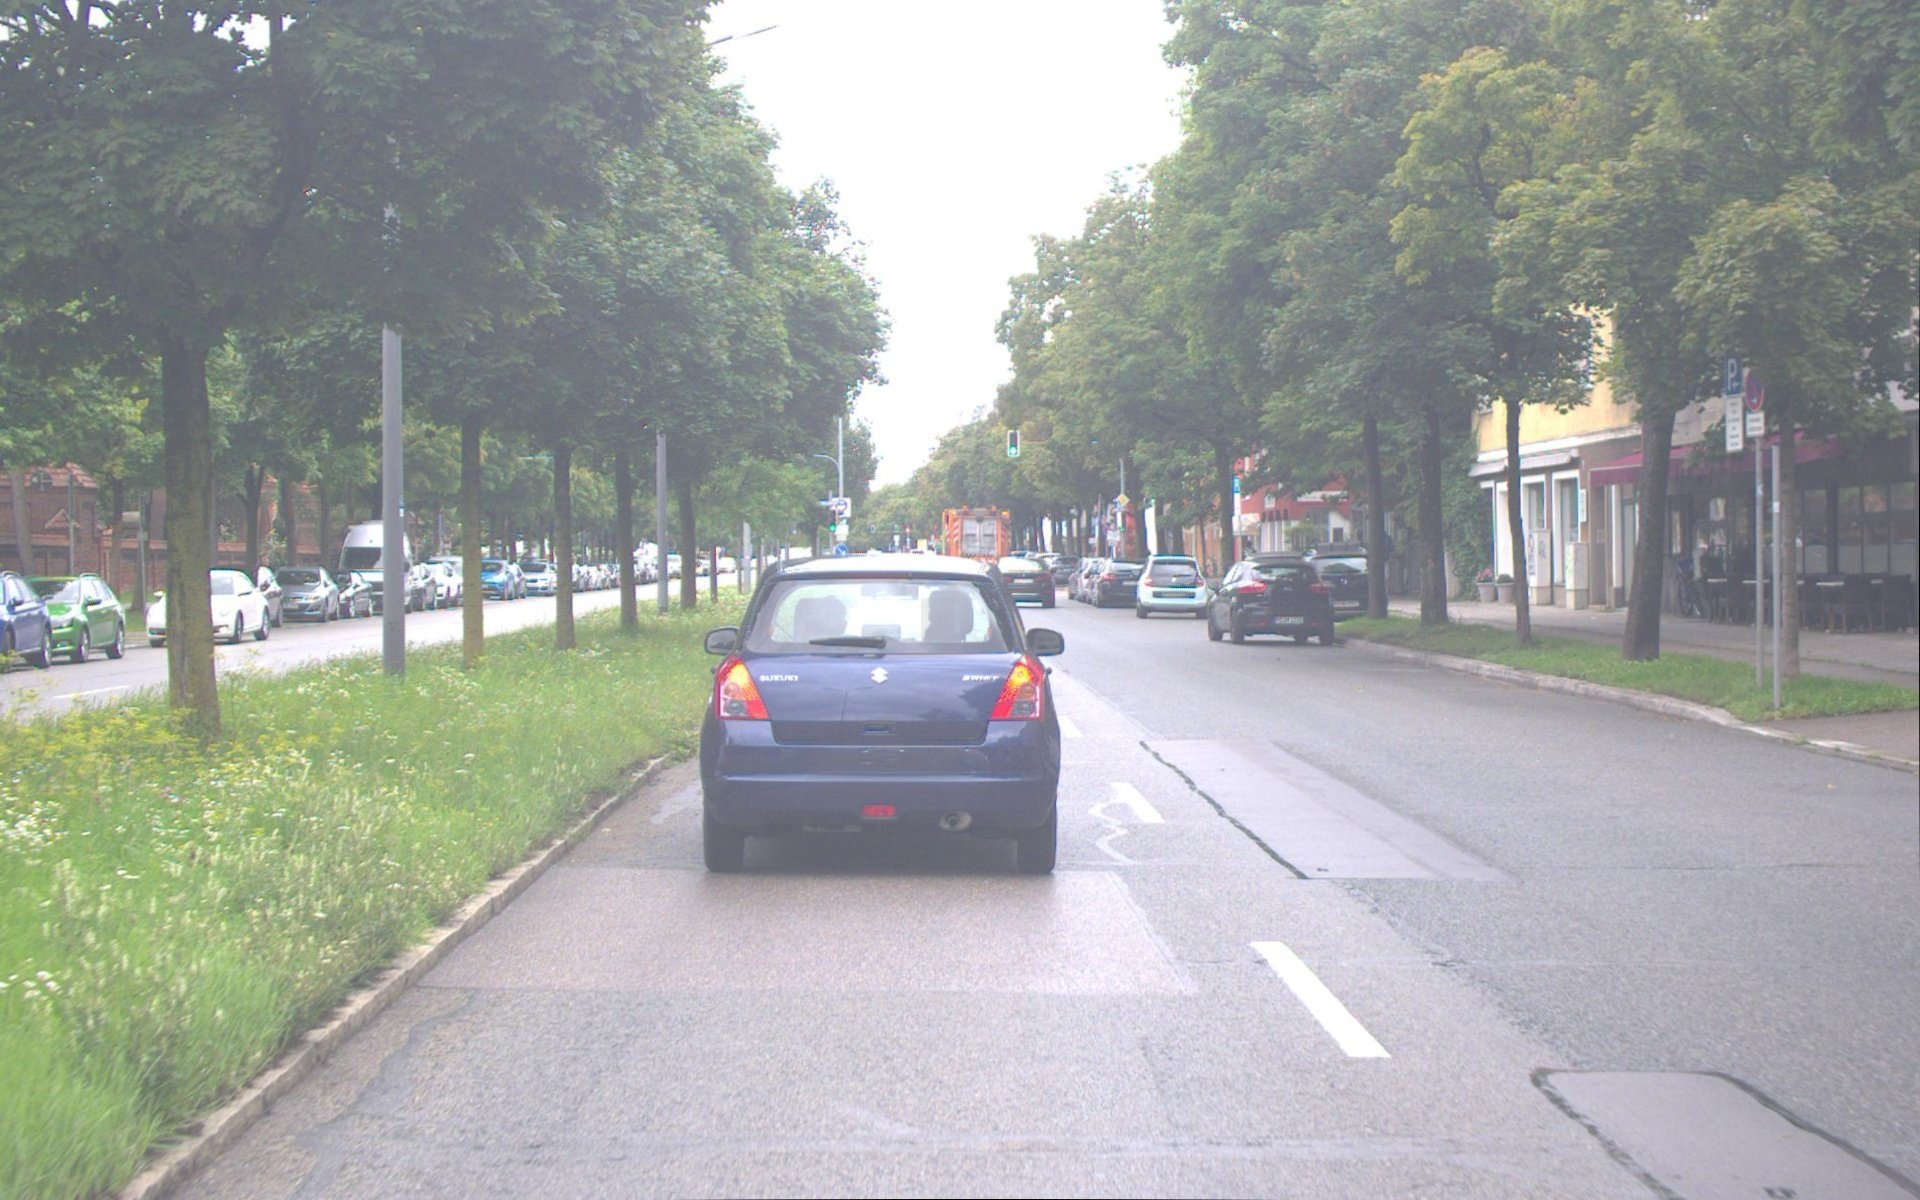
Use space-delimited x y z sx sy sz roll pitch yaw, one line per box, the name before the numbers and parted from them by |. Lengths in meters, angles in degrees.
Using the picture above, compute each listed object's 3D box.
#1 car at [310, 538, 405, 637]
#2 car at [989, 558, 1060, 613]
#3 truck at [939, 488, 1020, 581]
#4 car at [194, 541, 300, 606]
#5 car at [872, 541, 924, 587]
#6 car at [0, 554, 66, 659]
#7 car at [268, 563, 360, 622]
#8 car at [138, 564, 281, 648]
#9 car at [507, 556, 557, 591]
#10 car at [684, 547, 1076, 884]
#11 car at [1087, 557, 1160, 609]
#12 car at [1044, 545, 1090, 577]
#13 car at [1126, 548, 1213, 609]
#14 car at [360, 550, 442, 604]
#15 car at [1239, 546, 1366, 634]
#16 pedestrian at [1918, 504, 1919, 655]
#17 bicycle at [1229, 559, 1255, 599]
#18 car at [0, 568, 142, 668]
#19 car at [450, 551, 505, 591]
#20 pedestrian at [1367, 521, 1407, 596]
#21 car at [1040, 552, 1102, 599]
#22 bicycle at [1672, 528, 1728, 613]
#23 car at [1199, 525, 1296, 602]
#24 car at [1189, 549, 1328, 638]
car | -18.565 -0.417 106.174 2.185 2.943 6.193 0 1 -3
car | 1.821 -0.427 98.862 1.821 1.472 4.691 1 1 -1
truck | 0.721 -2.599 136.936 3.041 3.545 13.675 0 1 0
car | -17.365 -0.669 83.920 1.813 1.531 4.299 0 1 -2
car | -2.090 -1.213 115.241 1.718 1.495 4.301 0 1 -1
car | -15.136 0.119 52.620 1.886 1.532 4.315 -3 1 -3
car | -17.607 -0.226 93.832 1.813 1.531 4.442 0 1 -2
car | -15.281 0.091 70.212 1.761 1.532 4.314 -3 1 2
car | -19.295 -1.198 155.040 1.801 1.529 4.000 -1 1 -1
car | -0.363 0.487 17.448 1.753 1.499 4.000 0 1 0
car | 4.757 -0.505 100.464 1.653 1.447 4.709 -1 1 -3
car | 5.161 -1.905 166.537 1.993 1.525 4.000 -1 1 -1
car | 5.083 -0.540 83.808 1.653 1.447 4.001 -1 1 -3
car | -18.312 -0.782 112.738 2.185 1.730 4.579 0 1 -3
car | 6.622 -0.220 66.855 1.993 1.637 4.333 -1 1 -1
pedestrian | 11.231 -0.232 39.019 0.499 1.727 0.733 -1 1 -1
bicycle | 6.905 -0.521 84.109 0.448 0.977 1.799 0 1 -1
car | -15.235 0.282 58.379 1.638 1.532 4.315 -3 1 -1
car | -19.354 -1.176 137.973 1.706 1.529 4.000 -1 1 -1
pedestrian | 10.751 -1.055 86.588 0.792 1.849 0.777 -2 1 -3
car | 3.571 -0.810 110.923 1.653 1.447 4.001 -1 1 -3
bicycle | 12.947 -0.519 60.202 0.580 1.458 1.688 -1 1 -1
car | 6.486 -0.844 77.914 1.815 1.620 4.308 -2 1 0
car | 5.107 -0.136 59.240 1.993 1.447 4.000 0 1 -1
